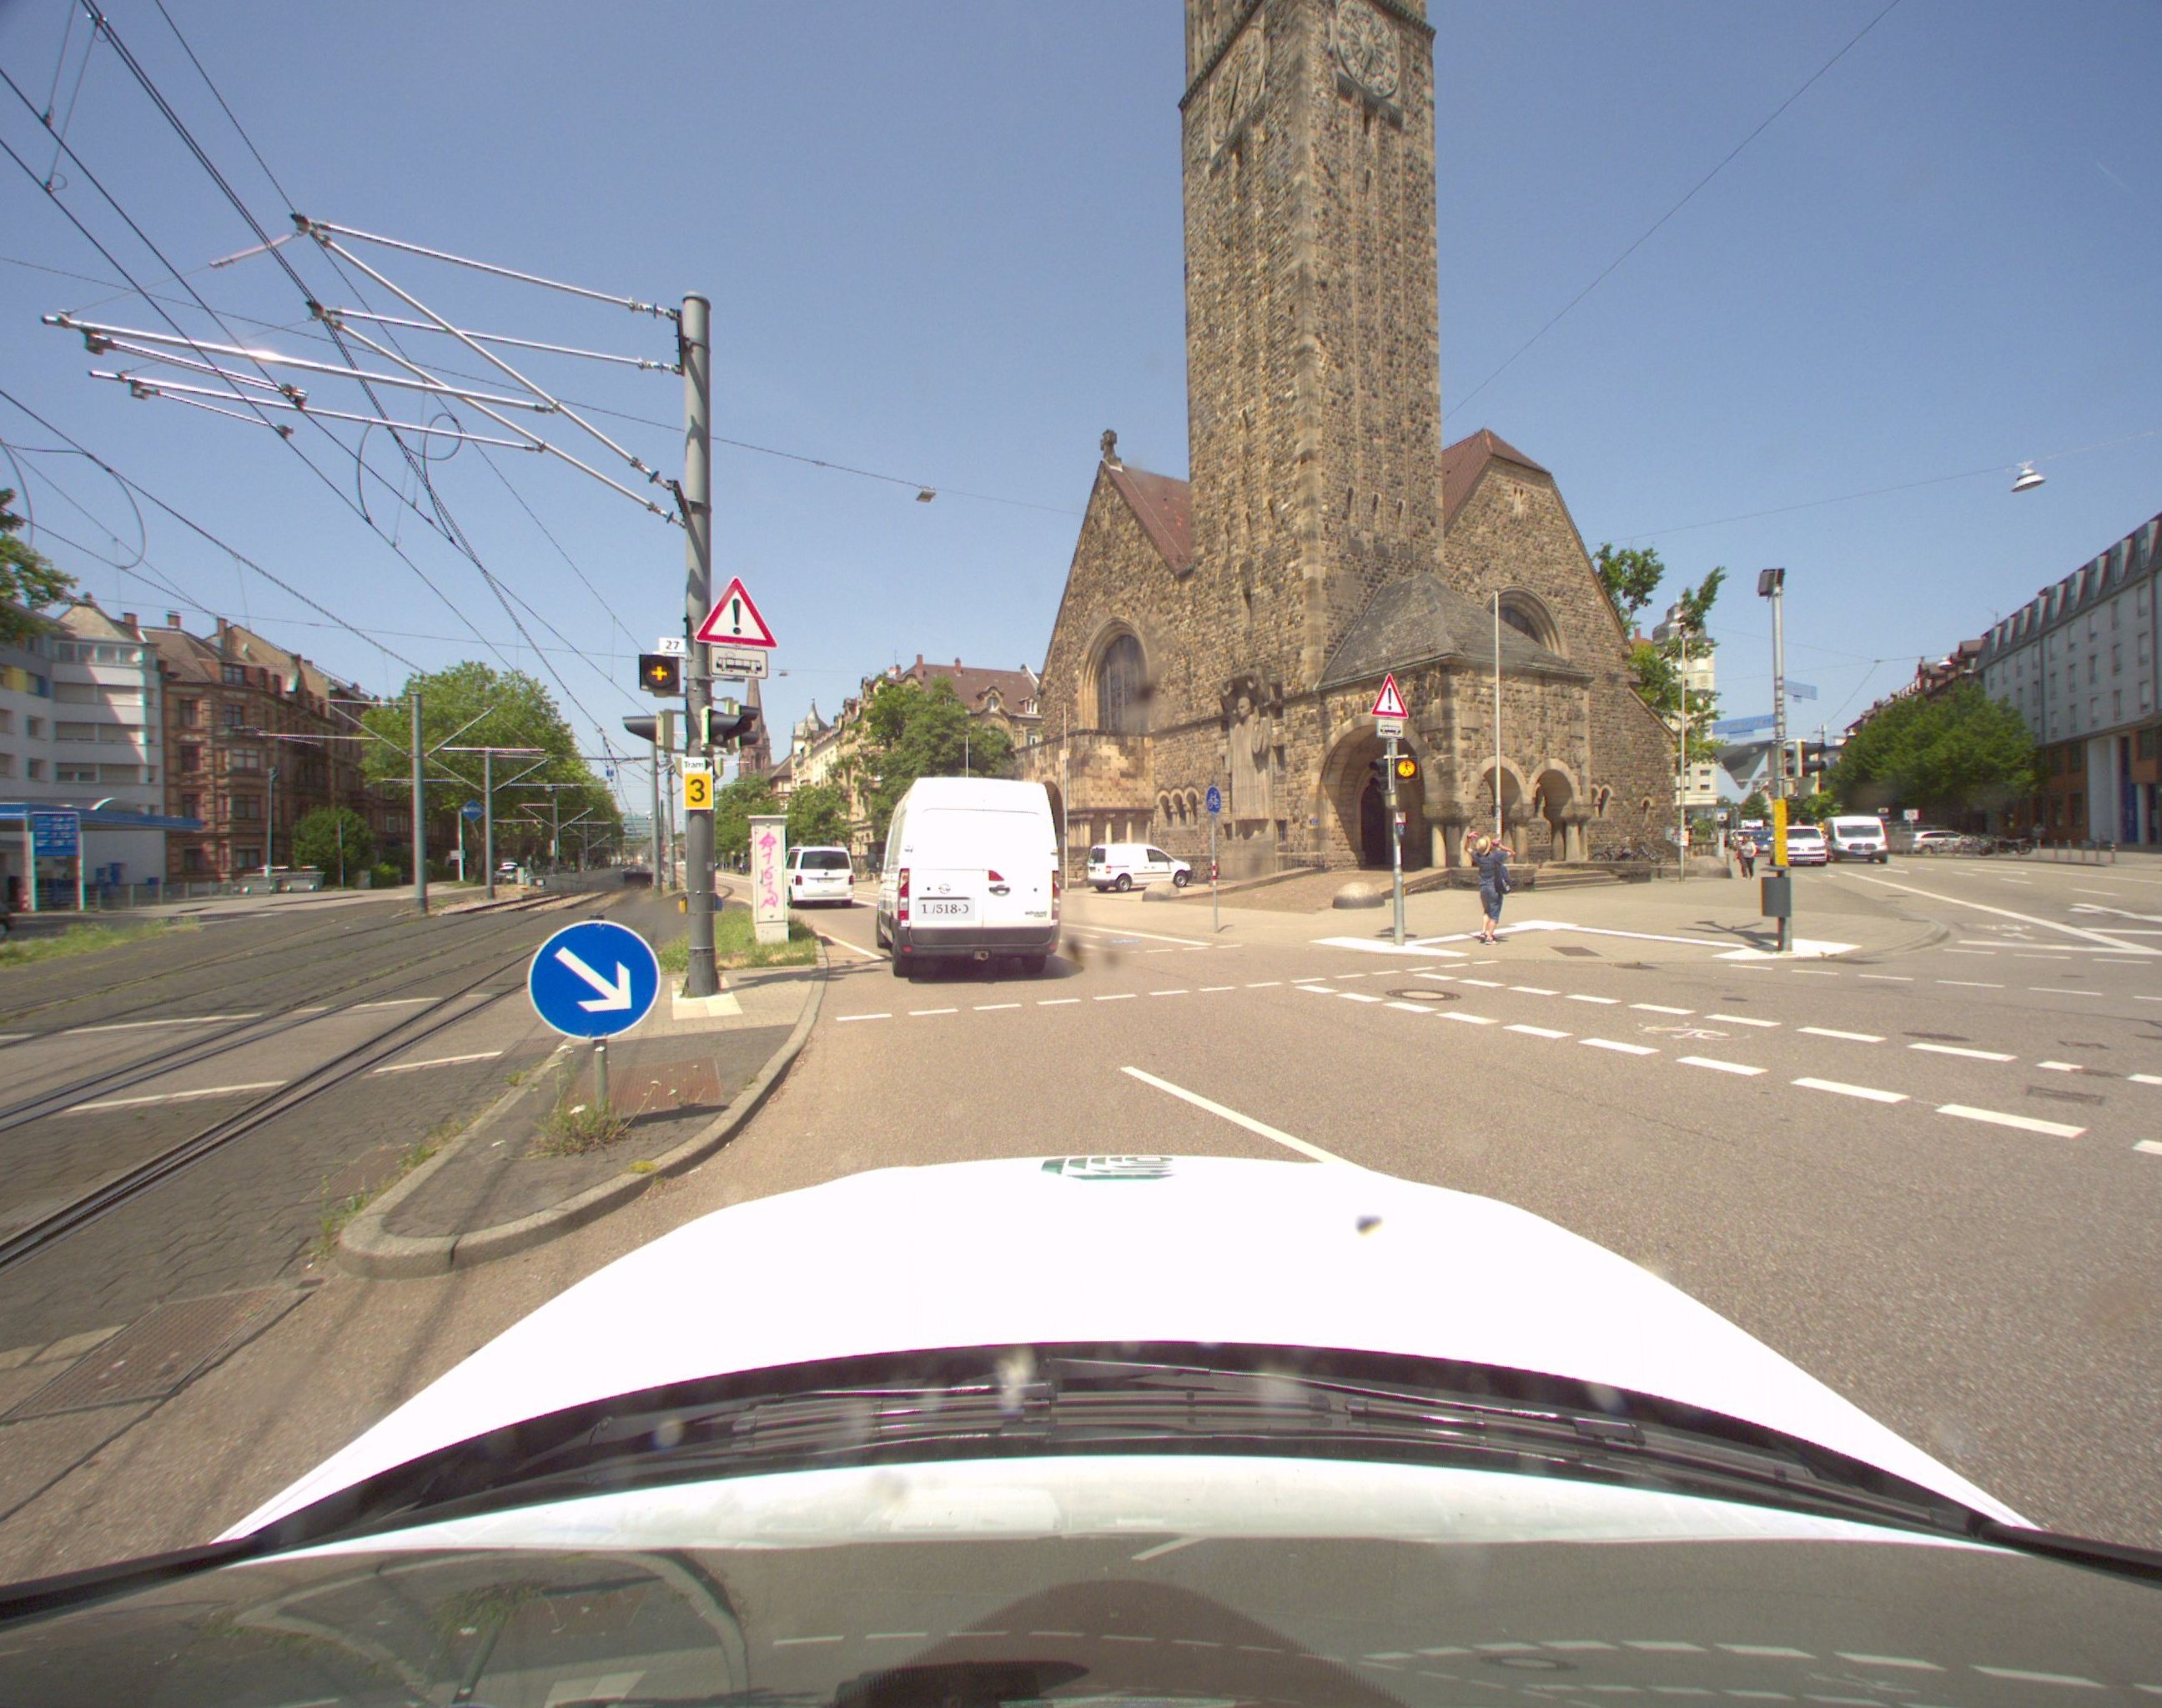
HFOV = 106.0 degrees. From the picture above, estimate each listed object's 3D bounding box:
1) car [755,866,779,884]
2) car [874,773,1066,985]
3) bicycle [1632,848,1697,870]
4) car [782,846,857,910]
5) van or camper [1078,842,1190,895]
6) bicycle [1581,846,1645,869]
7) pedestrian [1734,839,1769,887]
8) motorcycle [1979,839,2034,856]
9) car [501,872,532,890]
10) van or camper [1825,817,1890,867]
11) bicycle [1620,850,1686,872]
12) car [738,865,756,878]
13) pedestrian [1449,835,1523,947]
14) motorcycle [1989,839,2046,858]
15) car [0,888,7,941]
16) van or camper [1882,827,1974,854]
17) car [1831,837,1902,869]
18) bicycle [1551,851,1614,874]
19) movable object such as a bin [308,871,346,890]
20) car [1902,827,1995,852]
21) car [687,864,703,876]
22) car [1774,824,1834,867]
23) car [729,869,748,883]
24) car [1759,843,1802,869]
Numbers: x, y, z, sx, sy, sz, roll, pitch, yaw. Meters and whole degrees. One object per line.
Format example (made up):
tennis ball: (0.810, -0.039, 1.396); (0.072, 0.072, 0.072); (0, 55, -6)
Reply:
car: (-31.031, 2.047, 80.485); (1.760, 1.706, 3.724); (0, -1, -28)
car: (-1.917, 0.309, 12.187); (2.122, 2.459, 5.025); (0, -1, -16)
bicycle: (27.784, 0.254, 38.845); (0.707, 1.011, 2.477); (-1, 0, -26)
car: (-8.778, 0.747, 27.119); (1.926, 1.944, 4.229); (0, -1, -24)
van or camper: (2.101, 0.517, 32.050); (4.012, 1.825, 1.786); (-3, 1, -30)
bicycle: (24.541, 0.159, 37.637); (0.707, 1.011, 2.477); (-1, 0, -26)
pedestrian: (22.580, 0.300, 27.422); (0.795, 1.559, 0.713); (-1, 0, -35)
motorcycle: (54.160, -0.374, 47.692); (0.611, 0.958, 2.055); (-4, 1, -35)
car: (-56.365, 2.703, 81.358); (1.857, 1.625, 4.561); (-2, 0, -27)
van or camper: (41.178, -0.615, 43.311); (2.047, 2.461, 5.939); (-1, 0, 40)
bicycle: (26.863, 0.323, 38.294); (0.707, 1.011, 2.477); (-1, 0, -26)
car: (-41.521, 2.186, 101.155); (1.760, 1.578, 3.724); (0, -1, -28)
pedestrian: (6.878, 0.607, 13.848); (0.745, 1.822, 0.827); (0, -1, -21)
motorcycle: (52.743, -0.306, 45.877); (0.746, 0.958, 2.055); (-4, 1, -35)
car: (-29.519, 1.670, 20.458); (1.606, 1.420, 3.747); (-3, 1, -28)
van or camper: (61.146, -0.937, 58.867); (4.285, 1.838, 2.006); (-1, 0, 11)
car: (37.003, -0.048, 38.467); (1.974, 1.457, 4.025); (-1, 0, 38)
bicycle: (22.983, 0.392, 37.399); (0.707, 1.011, 2.477); (-1, 0, -26)
movable object such as a bin: (-56.796, 1.978, 61.357); (1.793, 1.385, 1.456); (-1, 0, -30)
car: (58.190, -0.949, 54.691); (3.958, 1.549, 1.756); (-1, -1, 14)
car: (-51.801, 2.110, 109.289); (1.760, 1.539, 3.724); (0, -1, -28)
car: (35.634, -0.406, 40.244); (2.019, 2.004, 4.999); (-1, 0, 39)
car: (-40.465, 2.609, 96.128); (1.760, 1.578, 3.724); (0, -1, -28)
car: (48.466, 0.135, 56.410); (1.975, 1.728, 4.023); (-1, -1, 44)
